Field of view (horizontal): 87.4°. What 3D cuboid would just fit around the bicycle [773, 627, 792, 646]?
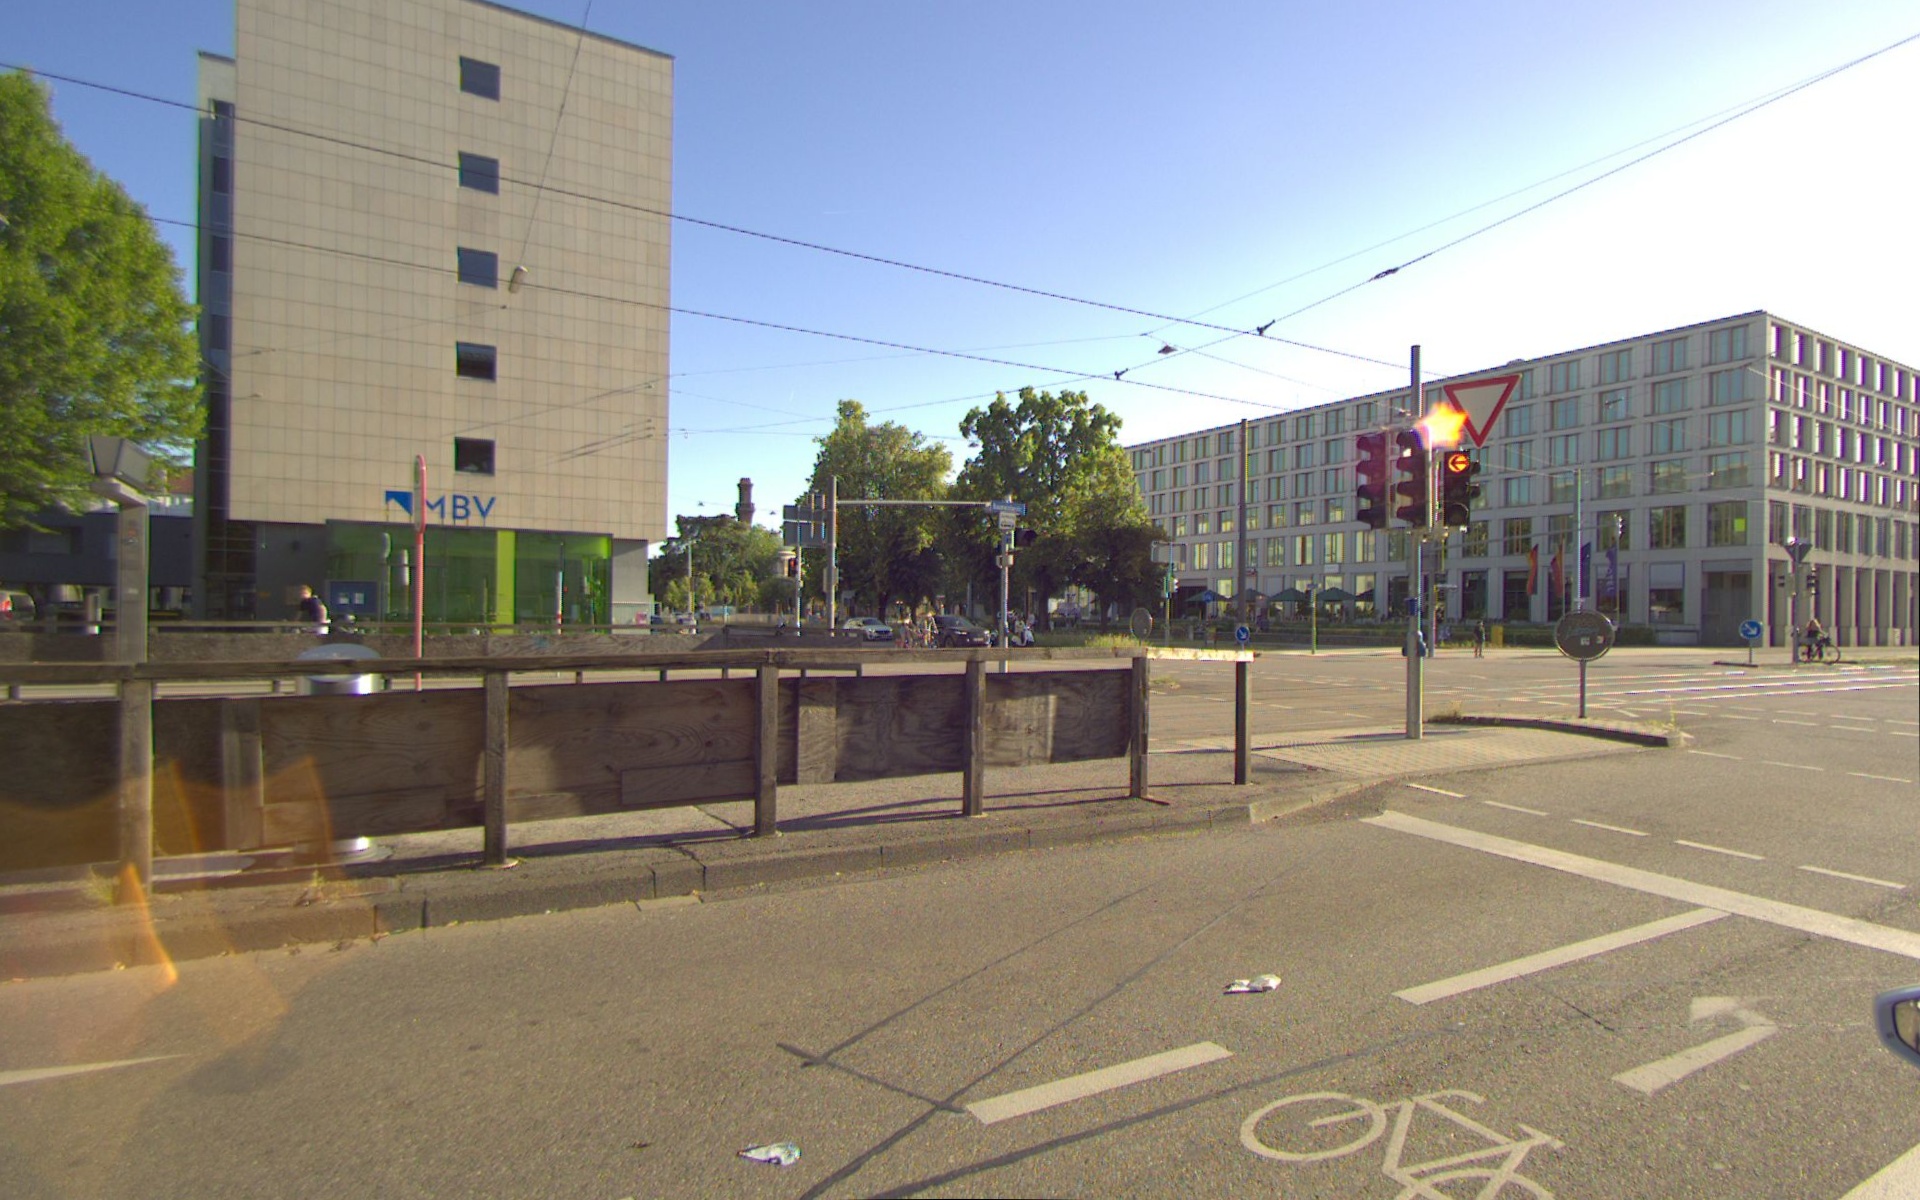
[{"bbox_3d":[-10.094,2.070,57.151,0.576,1.032,1.666,1,-1,-27],"label":"bicycle"}]

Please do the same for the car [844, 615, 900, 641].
[{"bbox_3d":[-5.546,1.747,62.791,1.975,1.472,4.179,2,0,-28],"label":"car"}]

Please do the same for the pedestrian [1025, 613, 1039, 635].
[{"bbox_3d":[5.756,1.904,80.599,0.858,1.738,0.737,2,0,-26],"label":"pedestrian"}]

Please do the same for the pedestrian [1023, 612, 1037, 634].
[{"bbox_3d":[5.803,1.913,82.877,0.858,1.738,0.737,2,0,-26],"label":"pedestrian"}]

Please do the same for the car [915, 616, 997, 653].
[{"bbox_3d":[-0.225,1.497,44.576,1.925,1.561,3.969,2,-2,-29],"label":"car"}]

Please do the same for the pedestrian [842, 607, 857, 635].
[{"bbox_3d":[-8.157,1.561,74.133,0.772,2.040,0.747,1,-1,-31],"label":"pedestrian"}]

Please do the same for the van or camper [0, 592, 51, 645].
[{"bbox_3d":[-27.897,0.433,27.564,3.954,1.425,1.954,4,-3,-30],"label":"van or camper"}]

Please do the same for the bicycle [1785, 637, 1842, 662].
[{"bbox_3d":[30.846,1.785,36.334,0.562,0.834,1.718,1,-1,-2],"label":"bicycle"}]

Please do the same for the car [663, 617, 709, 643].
[{"bbox_3d":[-17.807,1.916,65.197,1.975,1.472,4.179,2,0,-28],"label":"car"}]

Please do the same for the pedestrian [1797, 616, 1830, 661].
[{"bbox_3d":[30.853,1.389,36.329,0.562,1.616,0.744,1,-1,-3],"label":"pedestrian"}]

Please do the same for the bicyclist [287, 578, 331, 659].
[{"bbox_3d":[-14.729,0.423,22.740,0.762,1.784,0.532,1,-1,-30],"label":"bicyclist"}]

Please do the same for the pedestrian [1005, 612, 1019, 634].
[{"bbox_3d":[4.200,1.858,80.760,0.858,1.738,0.737,2,0,-26],"label":"pedestrian"}]

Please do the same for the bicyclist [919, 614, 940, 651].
[{"bbox_3d":[-1.280,1.366,42.412,0.576,1.563,0.890,1,-1,-27],"label":"bicyclist"}]

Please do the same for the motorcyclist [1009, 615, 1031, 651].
[{"bbox_3d":[2.801,1.542,46.981,0.624,1.601,0.812,-3,1,-28],"label":"motorcyclist"}]

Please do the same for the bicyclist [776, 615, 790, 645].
[{"bbox_3d":[-10.082,1.694,57.155,0.576,1.658,0.890,1,-1,-27],"label":"bicyclist"}]

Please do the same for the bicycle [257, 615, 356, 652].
[{"bbox_3d":[-14.751,0.761,22.733,1.831,0.798,0.532,1,-1,-30],"label":"bicycle"}]

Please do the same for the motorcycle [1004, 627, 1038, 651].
[{"bbox_3d":[2.841,1.823,46.950,0.624,1.030,1.972,-3,1,-28],"label":"motorcycle"}]

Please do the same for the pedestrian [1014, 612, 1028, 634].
[{"bbox_3d":[4.947,1.883,81.449,0.858,1.738,0.737,2,0,-26],"label":"pedestrian"}]

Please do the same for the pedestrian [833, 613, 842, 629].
[{"bbox_3d":[-14.036,2.385,115.280,0.615,1.829,0.769,2,0,39],"label":"pedestrian"}]

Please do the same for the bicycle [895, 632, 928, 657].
[{"bbox_3d":[-2.045,1.849,42.015,0.577,1.032,1.806,1,-3,-31],"label":"bicycle"}]

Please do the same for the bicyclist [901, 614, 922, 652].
[{"bbox_3d":[-2.039,1.371,42.012,0.577,1.563,0.833,1,-2,-32],"label":"bicyclist"}]

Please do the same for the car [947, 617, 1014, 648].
[{"bbox_3d":[1.038,1.660,52.165,1.674,1.506,3.719,1,-1,-33],"label":"car"}]

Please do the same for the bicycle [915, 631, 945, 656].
[{"bbox_3d":[-1.273,1.830,42.376,0.576,1.032,1.666,1,-1,-27],"label":"bicycle"}]

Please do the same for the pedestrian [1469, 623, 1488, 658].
[{"bbox_3d":[25.153,1.949,48.721,0.597,1.703,0.602,1,-1,-22],"label":"pedestrian"}]
